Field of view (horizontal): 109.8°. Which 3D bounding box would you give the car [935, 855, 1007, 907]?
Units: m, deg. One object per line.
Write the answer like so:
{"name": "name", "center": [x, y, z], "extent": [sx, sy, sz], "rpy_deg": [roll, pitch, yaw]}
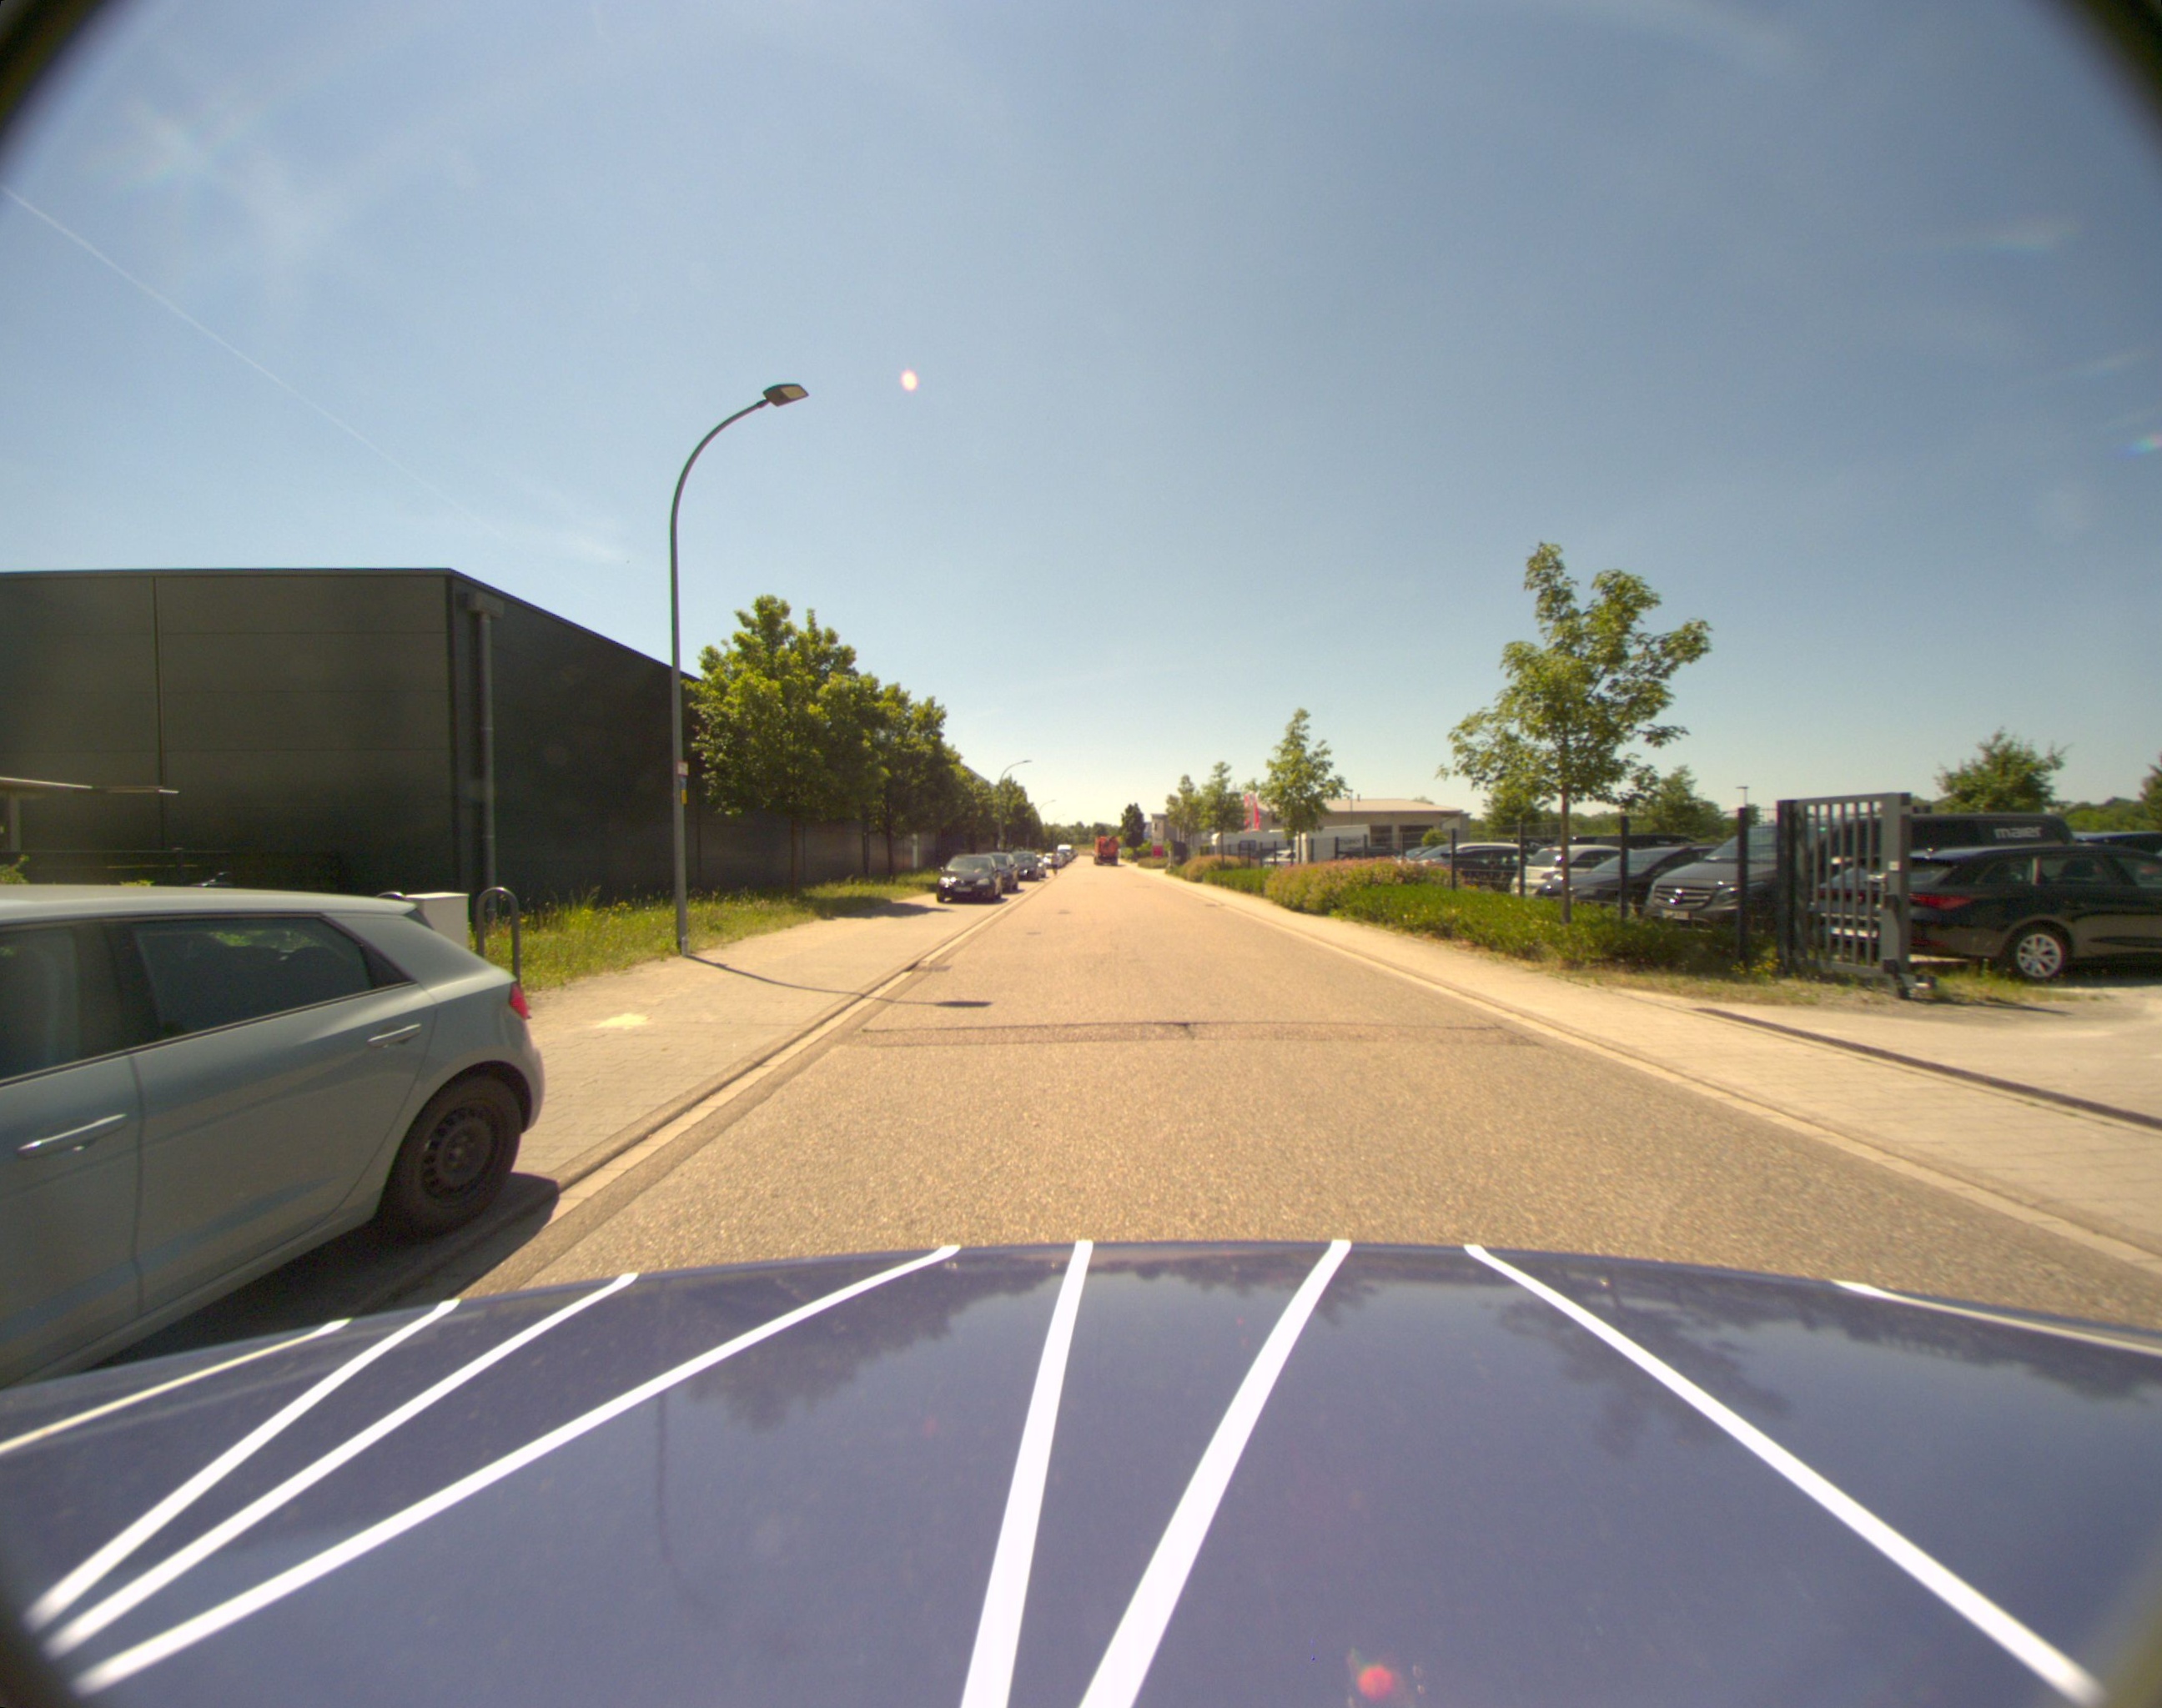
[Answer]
{"name": "car", "center": [-3.437, 0.790, 24.513], "extent": [1.696, 1.468, 4.268], "rpy_deg": [1, 0, 0]}

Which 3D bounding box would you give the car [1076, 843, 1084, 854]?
{"name": "car", "center": [-0.254, -1.423, 191.499], "extent": [2.060, 2.683, 4.834], "rpy_deg": [0, 1, 0]}

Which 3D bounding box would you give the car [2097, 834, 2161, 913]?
{"name": "car", "center": [21.421, 0.317, 13.537], "extent": [4.117, 1.406, 1.880], "rpy_deg": [-1, 1, 0]}

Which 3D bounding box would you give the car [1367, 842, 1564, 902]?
{"name": "car", "center": [11.118, 0.490, 22.232], "extent": [4.744, 1.619, 2.000], "rpy_deg": [-1, 1, 1]}

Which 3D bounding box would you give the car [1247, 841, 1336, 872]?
{"name": "car", "center": [11.893, 0.145, 43.040], "extent": [4.521, 1.656, 1.777], "rpy_deg": [-1, 1, -1]}

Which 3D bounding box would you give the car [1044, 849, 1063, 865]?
{"name": "car", "center": [-2.696, 0.310, 74.510], "extent": [1.736, 1.501, 3.665], "rpy_deg": [1, 1, 0]}

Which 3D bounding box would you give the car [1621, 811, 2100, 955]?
{"name": "car", "center": [11.241, 0.382, 11.258], "extent": [5.072, 1.840, 1.964], "rpy_deg": [-1, 1, 0]}

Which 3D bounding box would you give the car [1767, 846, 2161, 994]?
{"name": "car", "center": [10.974, 0.669, 8.784], "extent": [4.316, 1.438, 1.964], "rpy_deg": [-1, 1, 0]}

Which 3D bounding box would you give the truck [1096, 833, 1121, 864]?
{"name": "truck", "center": [3.321, -0.709, 93.413], "extent": [2.606, 3.524, 10.499], "rpy_deg": [1, 0, 0]}

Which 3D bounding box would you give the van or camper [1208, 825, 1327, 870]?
{"name": "van or camper", "center": [11.458, -0.402, 47.136], "extent": [6.793, 2.668, 2.575], "rpy_deg": [0, 1, 1]}

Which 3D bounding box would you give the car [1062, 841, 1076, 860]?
{"name": "car", "center": [-1.804, -0.523, 113.766], "extent": [2.060, 2.683, 4.834], "rpy_deg": [0, 1, 0]}

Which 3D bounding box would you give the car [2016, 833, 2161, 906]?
{"name": "car", "center": [21.953, 0.281, 15.694], "extent": [3.480, 1.406, 1.477], "rpy_deg": [-1, 1, 0]}

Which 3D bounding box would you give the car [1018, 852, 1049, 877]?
{"name": "car", "center": [-3.010, 0.647, 48.850], "extent": [1.711, 1.449, 4.188], "rpy_deg": [1, 0, 0]}

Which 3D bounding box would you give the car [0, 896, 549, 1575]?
{"name": "car", "center": [-3.355, 0.943, 1.520], "extent": [1.720, 1.415, 3.951], "rpy_deg": [2, 1, 1]}

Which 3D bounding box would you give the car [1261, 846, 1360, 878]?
{"name": "car", "center": [10.983, 0.360, 36.574], "extent": [4.218, 1.444, 1.776], "rpy_deg": [-1, 1, -2]}

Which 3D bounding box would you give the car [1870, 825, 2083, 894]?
{"name": "car", "center": [21.862, 0.121, 18.644], "extent": [3.480, 1.575, 1.477], "rpy_deg": [-1, 1, 0]}

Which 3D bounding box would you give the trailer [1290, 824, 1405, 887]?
{"name": "trailer", "center": [10.804, 0.036, 30.944], "extent": [3.998, 2.346, 1.726], "rpy_deg": [-2, 1, -2]}

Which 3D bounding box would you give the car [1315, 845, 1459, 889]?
{"name": "car", "center": [11.253, 0.453, 28.178], "extent": [4.558, 1.526, 2.000], "rpy_deg": [-1, 1, 1]}

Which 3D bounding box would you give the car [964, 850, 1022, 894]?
{"name": "car", "center": [-3.480, 0.661, 30.797], "extent": [1.812, 1.608, 4.714], "rpy_deg": [1, 0, 0]}

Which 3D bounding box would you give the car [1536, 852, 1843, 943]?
{"name": "car", "center": [11.163, 0.757, 14.178], "extent": [4.203, 1.490, 1.904], "rpy_deg": [-1, 1, 0]}

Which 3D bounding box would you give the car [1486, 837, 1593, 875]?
{"name": "car", "center": [22.226, 0.094, 36.961], "extent": [3.997, 1.761, 2.000], "rpy_deg": [-1, 1, -1]}

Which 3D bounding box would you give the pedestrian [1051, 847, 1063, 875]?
{"name": "pedestrian", "center": [-1.516, 0.436, 48.825], "extent": [0.704, 1.799, 0.721], "rpy_deg": [-1, 1, 1]}

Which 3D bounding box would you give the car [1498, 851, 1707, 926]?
{"name": "car", "center": [11.541, 0.726, 17.005], "extent": [3.379, 1.490, 1.904], "rpy_deg": [-1, 1, 0]}

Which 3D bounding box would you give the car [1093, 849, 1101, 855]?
{"name": "car", "center": [4.520, -0.511, 214.756], "extent": [1.868, 1.674, 4.221], "rpy_deg": [0, 1, -4]}

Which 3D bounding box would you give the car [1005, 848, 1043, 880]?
{"name": "car", "center": [-3.138, 0.527, 42.484], "extent": [1.742, 1.660, 4.367], "rpy_deg": [1, 1, 0]}
